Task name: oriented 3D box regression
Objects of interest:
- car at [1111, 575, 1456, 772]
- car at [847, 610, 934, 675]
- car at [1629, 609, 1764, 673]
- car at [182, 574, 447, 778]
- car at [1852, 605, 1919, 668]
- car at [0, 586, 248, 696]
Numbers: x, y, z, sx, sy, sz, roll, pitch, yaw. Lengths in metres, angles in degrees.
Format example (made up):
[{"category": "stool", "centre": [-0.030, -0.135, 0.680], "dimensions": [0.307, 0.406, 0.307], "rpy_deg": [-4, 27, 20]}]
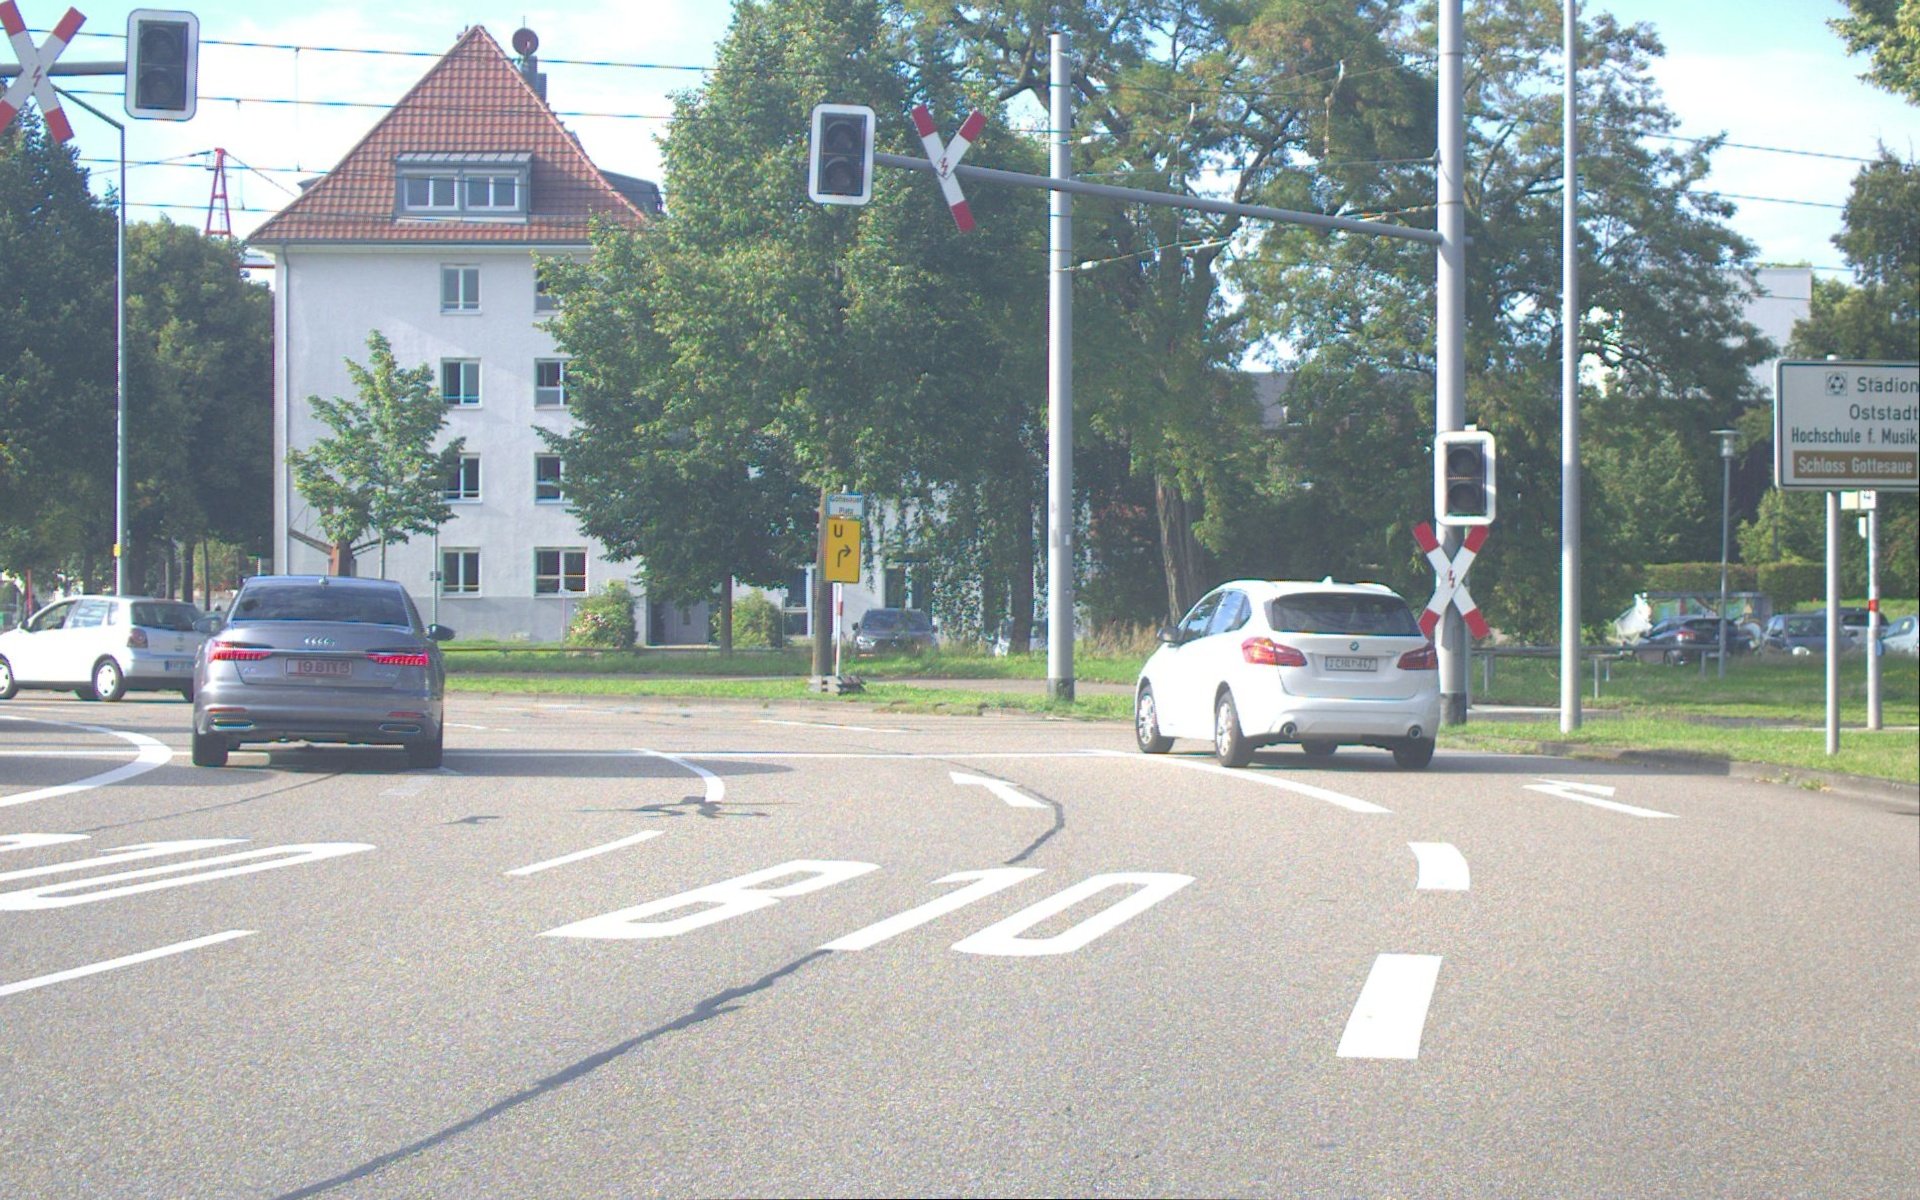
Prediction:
[{"category": "car", "centre": [2.727, 0.618, 30.052], "dimensions": [1.850, 1.567, 4.456], "rpy_deg": [1, -1, -10]}, {"category": "car", "centre": [-1.521, 0.903, 74.953], "dimensions": [1.855, 1.377, 4.515], "rpy_deg": [0, 0, -1]}, {"category": "car", "centre": [16.166, 0.881, 75.706], "dimensions": [1.855, 1.355, 4.733], "rpy_deg": [0, 0, -1]}, {"category": "car", "centre": [-5.063, 0.574, 27.176], "dimensions": [1.850, 1.440, 4.716], "rpy_deg": [1, -1, -10]}, {"category": "car", "centre": [21.425, 0.795, 76.363], "dimensions": [1.855, 1.353, 4.834], "rpy_deg": [0, 0, -1]}, {"category": "car", "centre": [-11.925, 0.551, 47.339], "dimensions": [4.451, 1.421, 1.852], "rpy_deg": [1, -1, 42]}]
